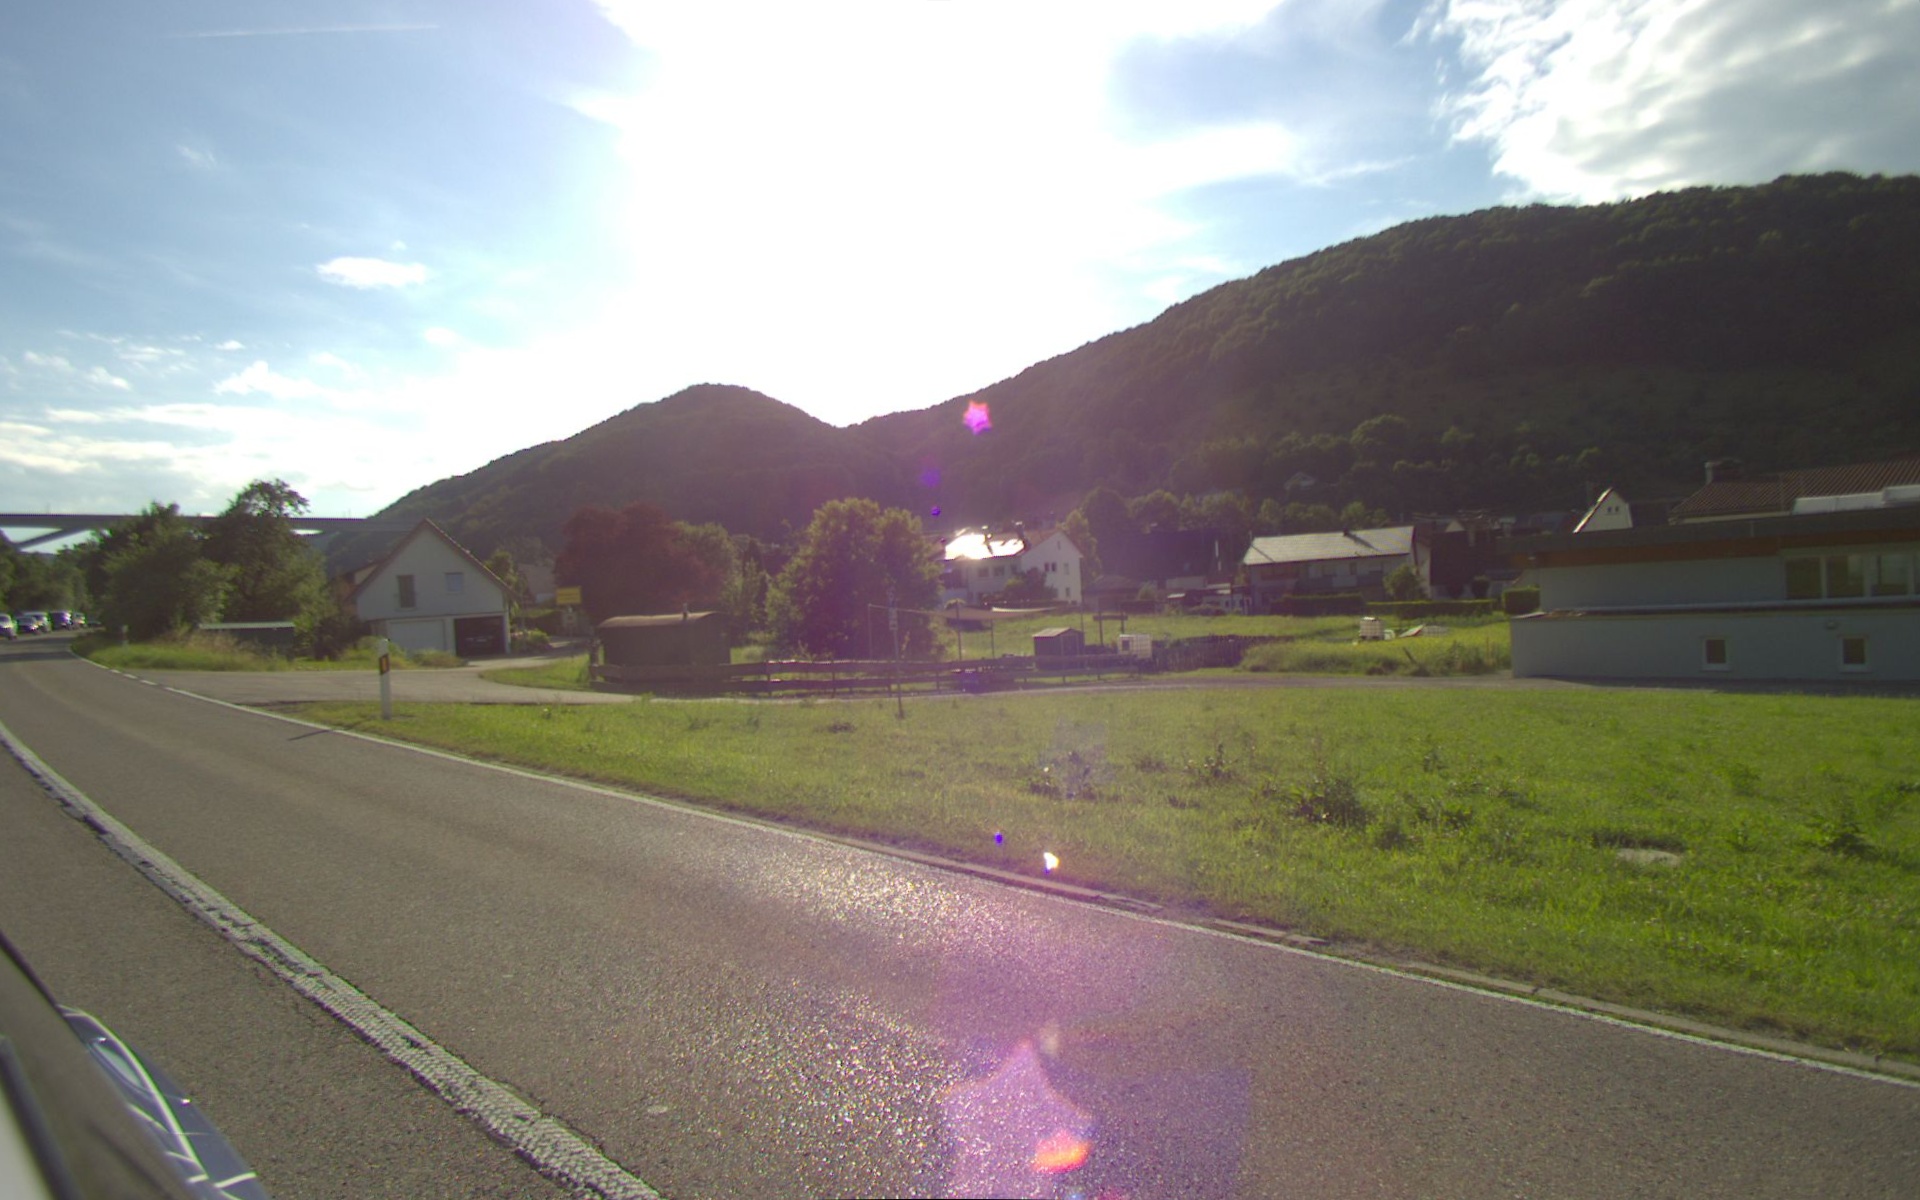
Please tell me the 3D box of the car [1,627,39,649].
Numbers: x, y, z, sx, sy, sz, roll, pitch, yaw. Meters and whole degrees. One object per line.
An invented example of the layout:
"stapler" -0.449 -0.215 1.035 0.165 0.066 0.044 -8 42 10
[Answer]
"car" -71.701 2.868 77.260 1.814 1.564 4.185 1 -1 -39

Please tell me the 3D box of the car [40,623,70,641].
"car" -86.928 3.031 97.230 1.790 1.630 4.008 1 -1 -37

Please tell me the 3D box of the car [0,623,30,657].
"car" -59.952 2.487 63.684 1.886 2.029 4.007 1 -1 -39

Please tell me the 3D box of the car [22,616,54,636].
"car" -78.117 2.207 85.793 1.791 1.630 4.007 1 -1 -39

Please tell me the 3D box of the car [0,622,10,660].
"car" -53.621 2.225 55.547 1.886 2.029 4.006 1 -1 -40

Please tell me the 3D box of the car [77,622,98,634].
"car" -112.847 3.610 130.918 1.813 1.564 4.186 1 -1 -37
